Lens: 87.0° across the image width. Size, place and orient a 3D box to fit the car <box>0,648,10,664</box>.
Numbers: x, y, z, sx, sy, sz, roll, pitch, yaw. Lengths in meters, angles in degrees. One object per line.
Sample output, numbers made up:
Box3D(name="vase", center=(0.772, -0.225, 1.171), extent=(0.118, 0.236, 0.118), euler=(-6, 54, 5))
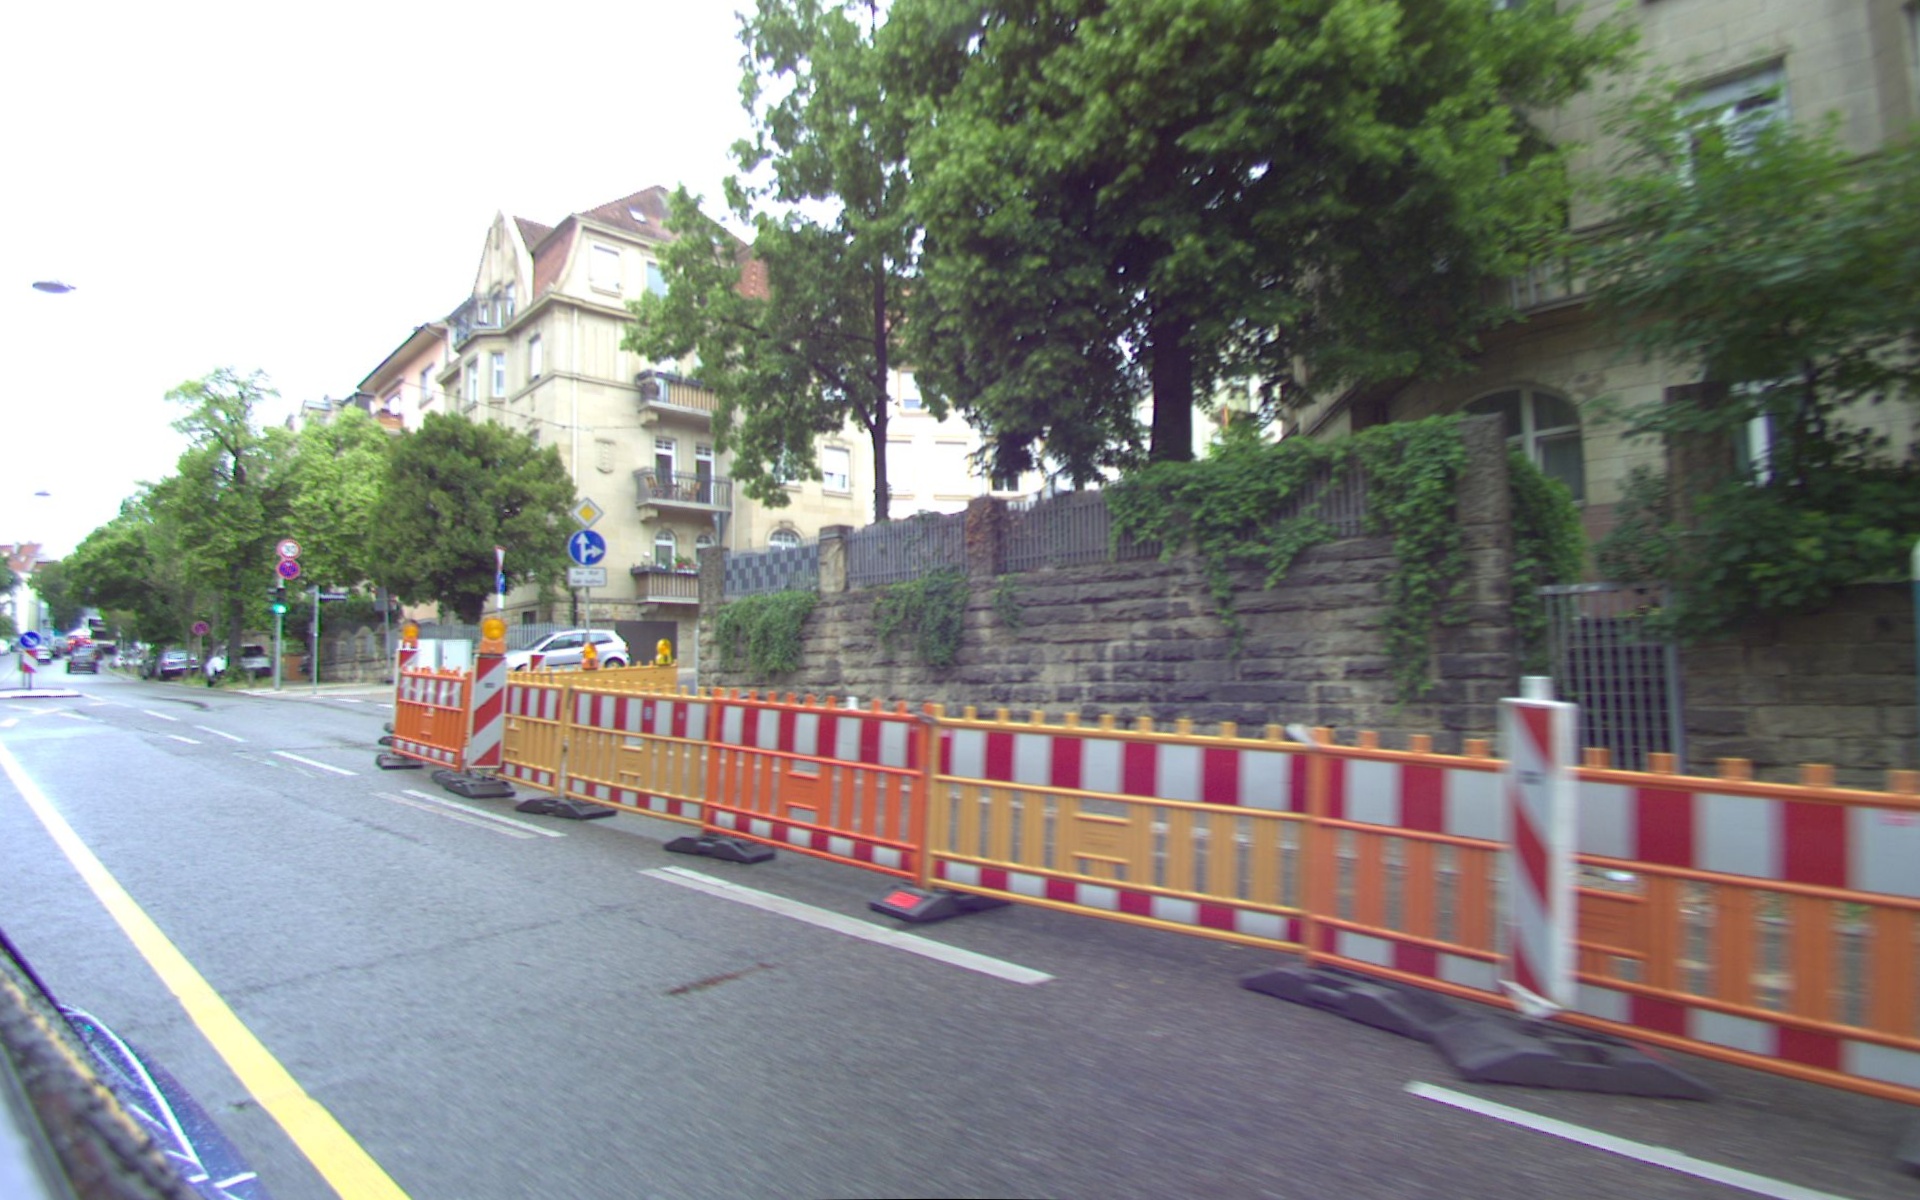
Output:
Box3D(name="car", center=(-103.890, 6.008, 108.993), extent=(1.896, 1.573, 4.020), euler=(6, -5, -38))

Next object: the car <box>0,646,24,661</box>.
Box3D(name="car", center=(-109.627, 6.148, 116.852), extent=(1.896, 1.573, 4.020), euler=(6, -6, -38))

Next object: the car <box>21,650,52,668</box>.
Box3D(name="car", center=(-83.002, 5.311, 90.992), extent=(1.750, 1.529, 4.106), euler=(2, -3, -40))

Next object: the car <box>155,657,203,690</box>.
Box3D(name="car", center=(-41.923, 3.921, 54.288), extent=(1.720, 1.571, 4.307), euler=(-1, -1, -42))

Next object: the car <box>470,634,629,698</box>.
Box3D(name="car", center=(-11.692, 1.828, 28.893), extent=(3.813, 1.419, 1.830), euler=(-3, 2, -38))

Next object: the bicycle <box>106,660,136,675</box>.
Box3D(name="bicycle", center=(-72.868, 5.867, 87.865), extent=(1.952, 1.245, 0.658), euler=(3, -4, -43))

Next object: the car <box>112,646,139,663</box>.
Box3D(name="car", center=(-87.043, 5.698, 105.604), extent=(1.970, 1.607, 3.835), euler=(-3, 0, -38))

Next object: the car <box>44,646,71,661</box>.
Box3D(name="car", center=(-96.365, 5.736, 108.099), extent=(1.689, 1.491, 4.123), euler=(4, -5, -36))

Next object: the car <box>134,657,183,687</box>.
Box3D(name="car", center=(-47.715, 4.230, 60.236), extent=(4.303, 1.571, 1.722), euler=(-2, 0, 44))

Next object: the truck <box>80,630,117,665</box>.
Box3D(name="truck", center=(-98.385, 5.472, 115.504), extent=(2.616, 3.884, 9.315), euler=(4, -5, -43))

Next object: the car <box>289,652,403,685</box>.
Box3D(name="car", center=(-26.706, 2.971, 44.094), extent=(3.940, 1.337, 1.838), euler=(2, -5, -44))

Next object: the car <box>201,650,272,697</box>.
Box3D(name="car", center=(-27.507, 2.753, 38.429), extent=(1.720, 1.571, 4.307), euler=(-1, -1, -42))

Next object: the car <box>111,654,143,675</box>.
Box3D(name="car", center=(-70.683, 5.441, 85.849), extent=(1.721, 1.571, 4.304), euler=(-1, -1, -45))

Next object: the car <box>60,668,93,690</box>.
Box3D(name="car", center=(-66.912, 6.005, 76.642), extent=(1.793, 1.529, 4.554), euler=(4, -7, -41))
